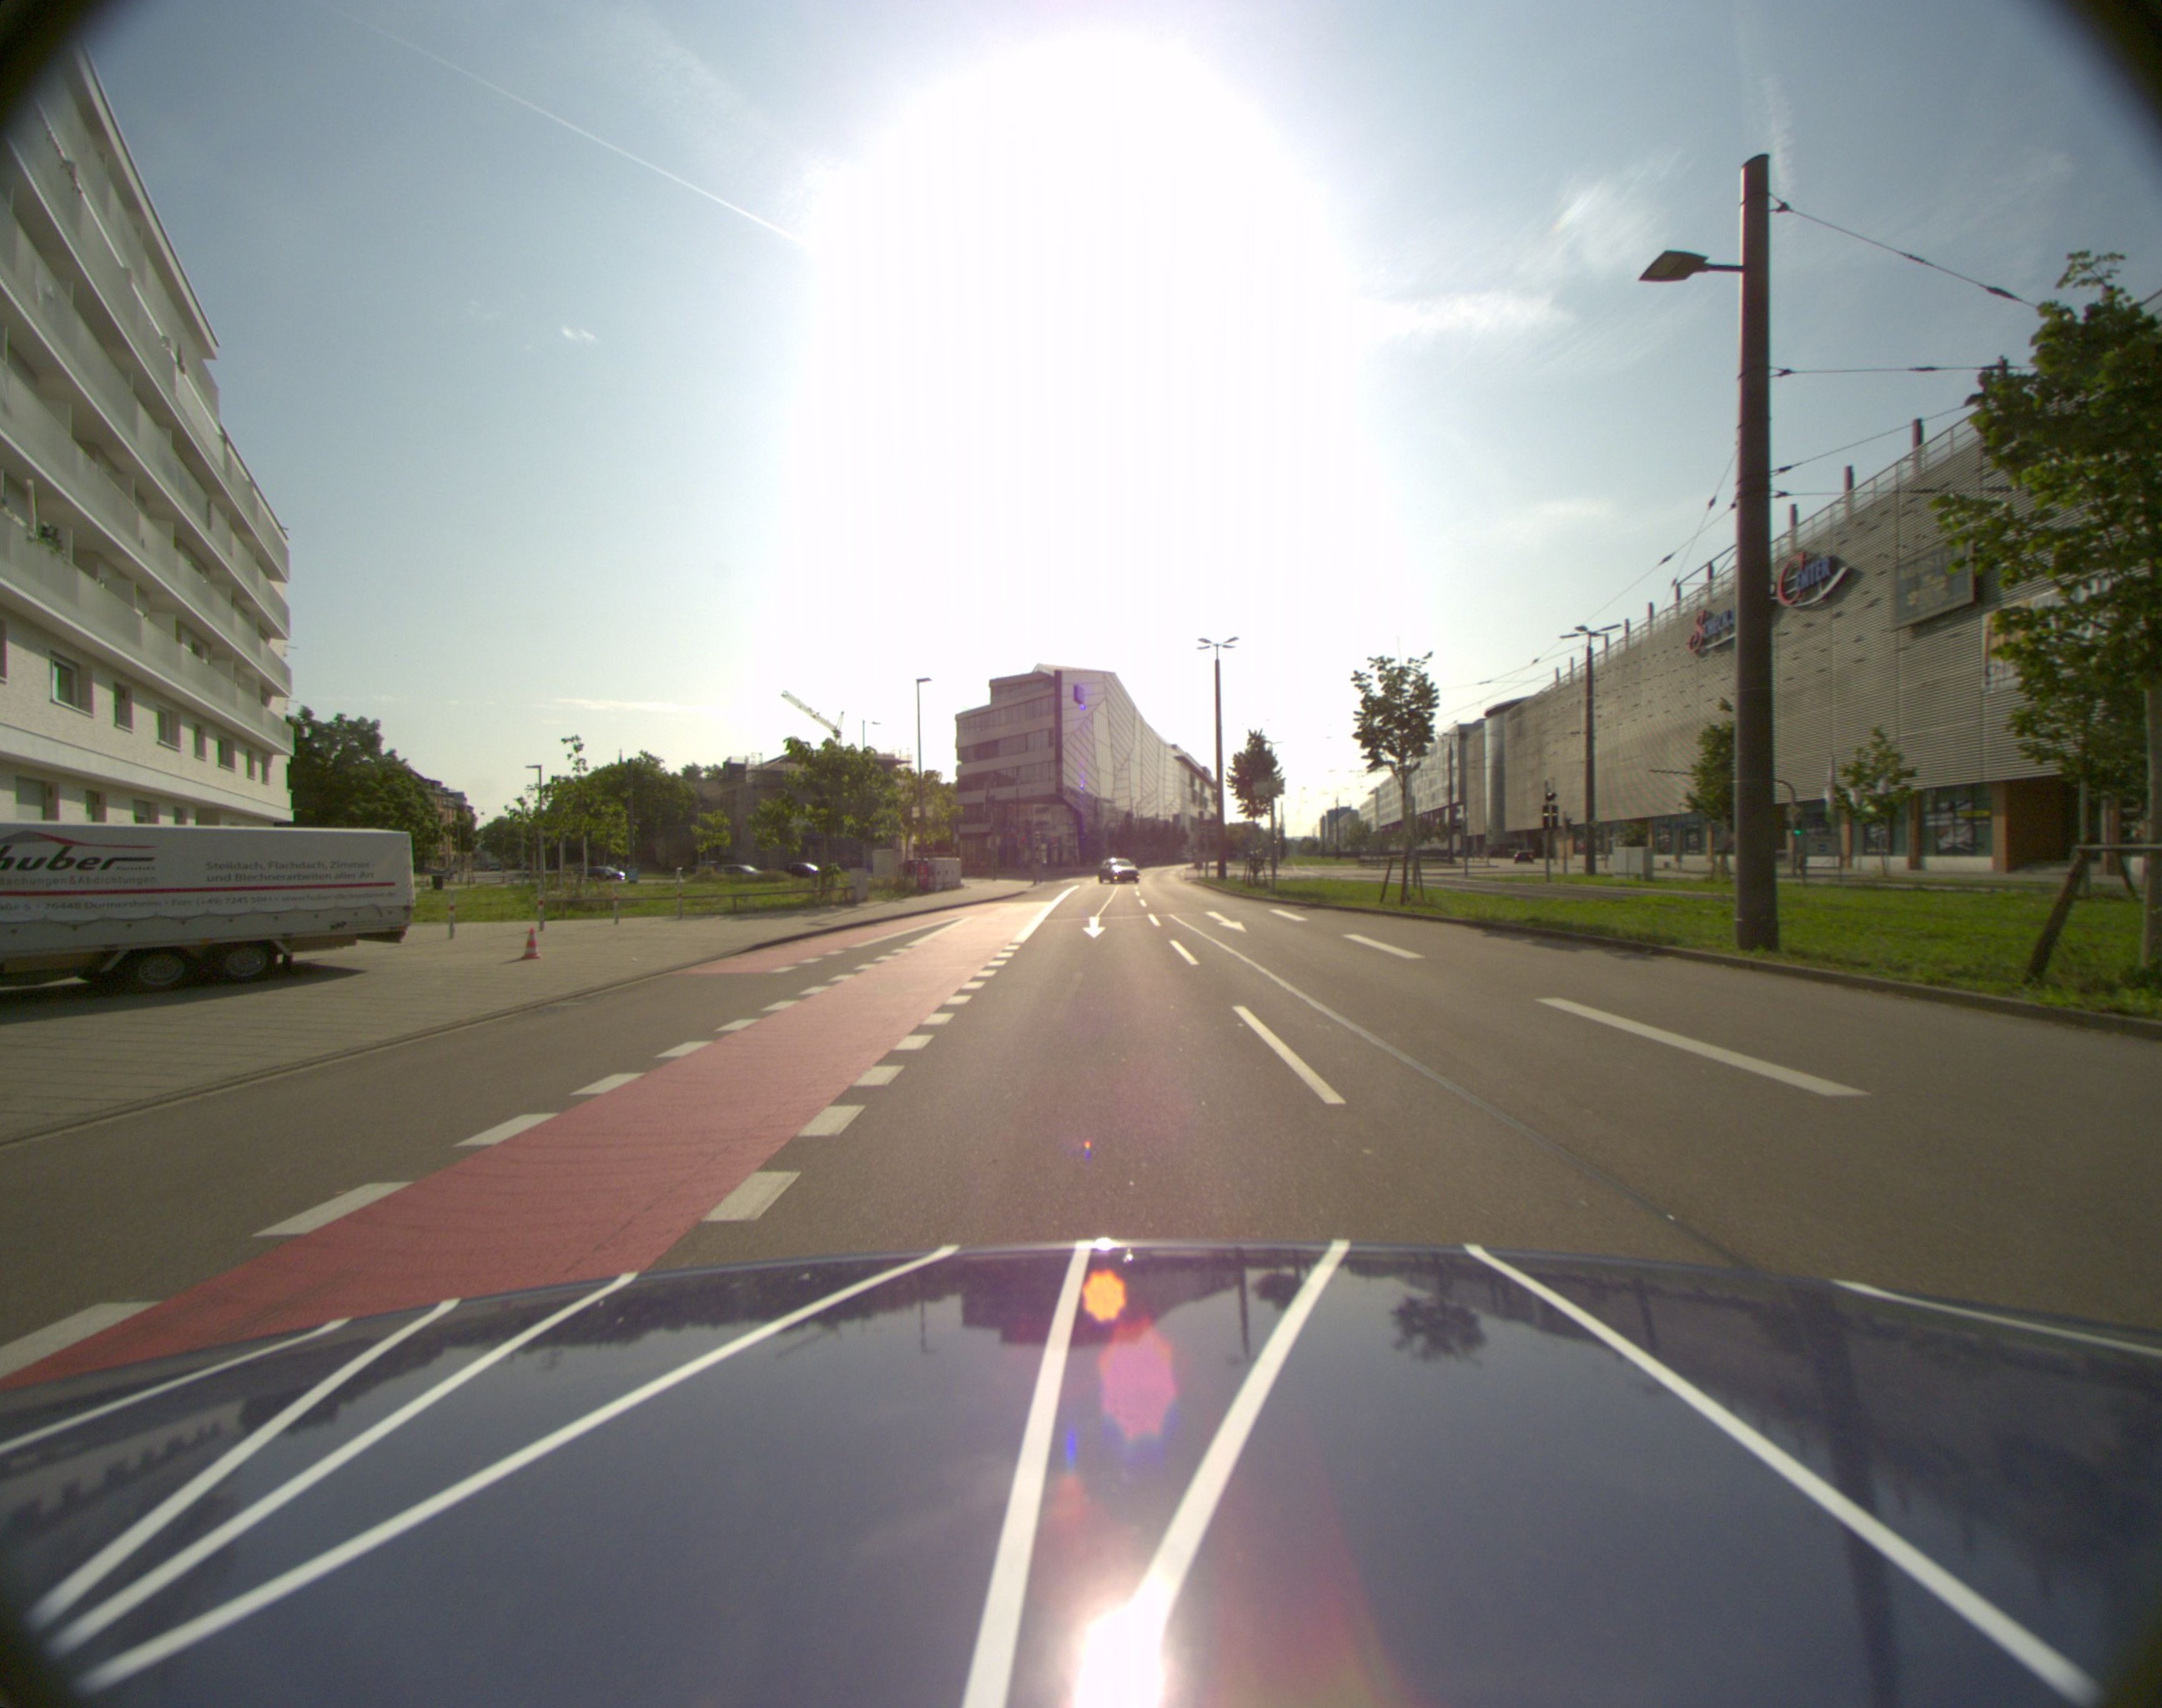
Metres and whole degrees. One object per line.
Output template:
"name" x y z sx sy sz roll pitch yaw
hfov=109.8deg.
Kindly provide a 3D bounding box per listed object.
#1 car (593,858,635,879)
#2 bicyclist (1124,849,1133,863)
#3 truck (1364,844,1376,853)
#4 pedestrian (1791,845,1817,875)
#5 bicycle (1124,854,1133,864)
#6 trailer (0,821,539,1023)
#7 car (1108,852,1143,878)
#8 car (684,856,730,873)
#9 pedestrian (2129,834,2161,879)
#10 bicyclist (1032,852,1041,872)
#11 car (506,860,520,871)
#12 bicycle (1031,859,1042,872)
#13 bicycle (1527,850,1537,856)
"car" -45.629 1.435 74.227 3.989 2.002 2.004 -1 1 33
"bicyclist" 5.465 0.251 86.636 0.782 1.577 0.933 0 2 21
"truck" 76.187 -1.503 200.238 2.204 2.308 4.554 -1 0 10
"pedestrian" 38.094 0.323 40.041 0.762 1.570 0.590 -1 1 11
"bicycle" 5.449 0.556 86.670 0.418 1.050 1.962 0 2 21
"trailer" -11.528 0.715 10.632 2.391 2.138 5.959 -1 0 26
"car" 2.586 0.606 44.840 1.644 1.411 3.893 -1 1 -3
"car" -43.089 1.193 87.501 4.803 1.773 1.958 0 2 23
"pedestrian" 42.048 0.088 29.631 0.818 1.709 1.178 -1 0 15
"bicyclist" -3.824 0.667 65.105 0.669 1.693 0.637 -1 2 4
"car" -114.257 2.280 152.834 2.004 1.968 3.988 -3 3 -41
"bicycle" -3.825 0.983 65.022 0.669 1.092 1.805 -1 2 4
"bicycle" 56.584 -0.134 95.301 0.581 0.775 1.871 -1 0 14
